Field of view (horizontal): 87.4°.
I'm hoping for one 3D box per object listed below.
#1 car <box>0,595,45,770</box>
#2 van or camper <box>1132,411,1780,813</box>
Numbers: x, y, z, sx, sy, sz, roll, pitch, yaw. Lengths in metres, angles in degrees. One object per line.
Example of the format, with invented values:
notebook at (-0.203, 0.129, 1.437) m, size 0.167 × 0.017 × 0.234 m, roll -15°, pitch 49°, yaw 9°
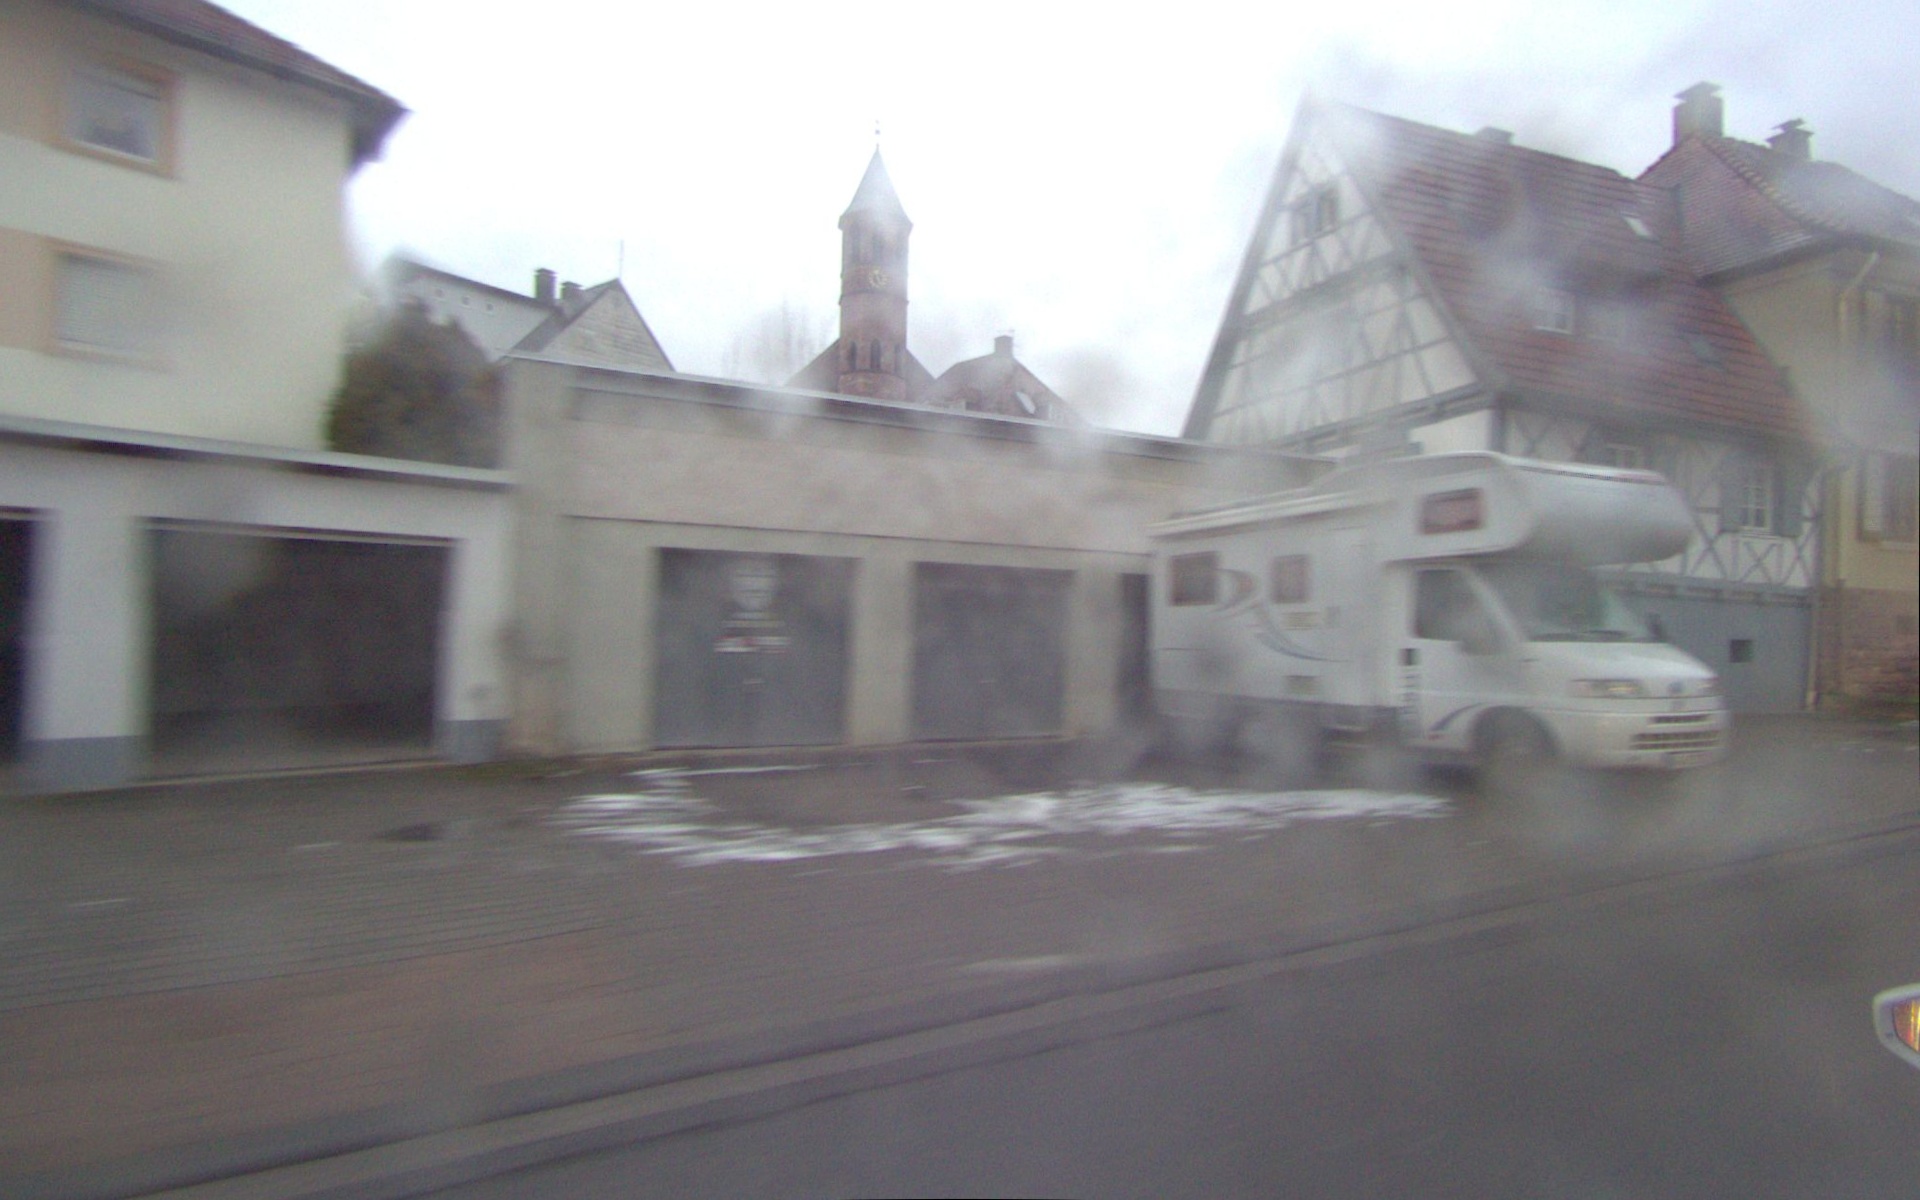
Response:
car at (-9.644, 0.670, 9.173) m, size 1.747 × 1.422 × 3.953 m, roll 1°, pitch -1°, yaw -41°
van or camper at (4.526, 0.271, 10.687) m, size 2.292 × 2.980 × 6.043 m, roll 1°, pitch -4°, yaw -25°
